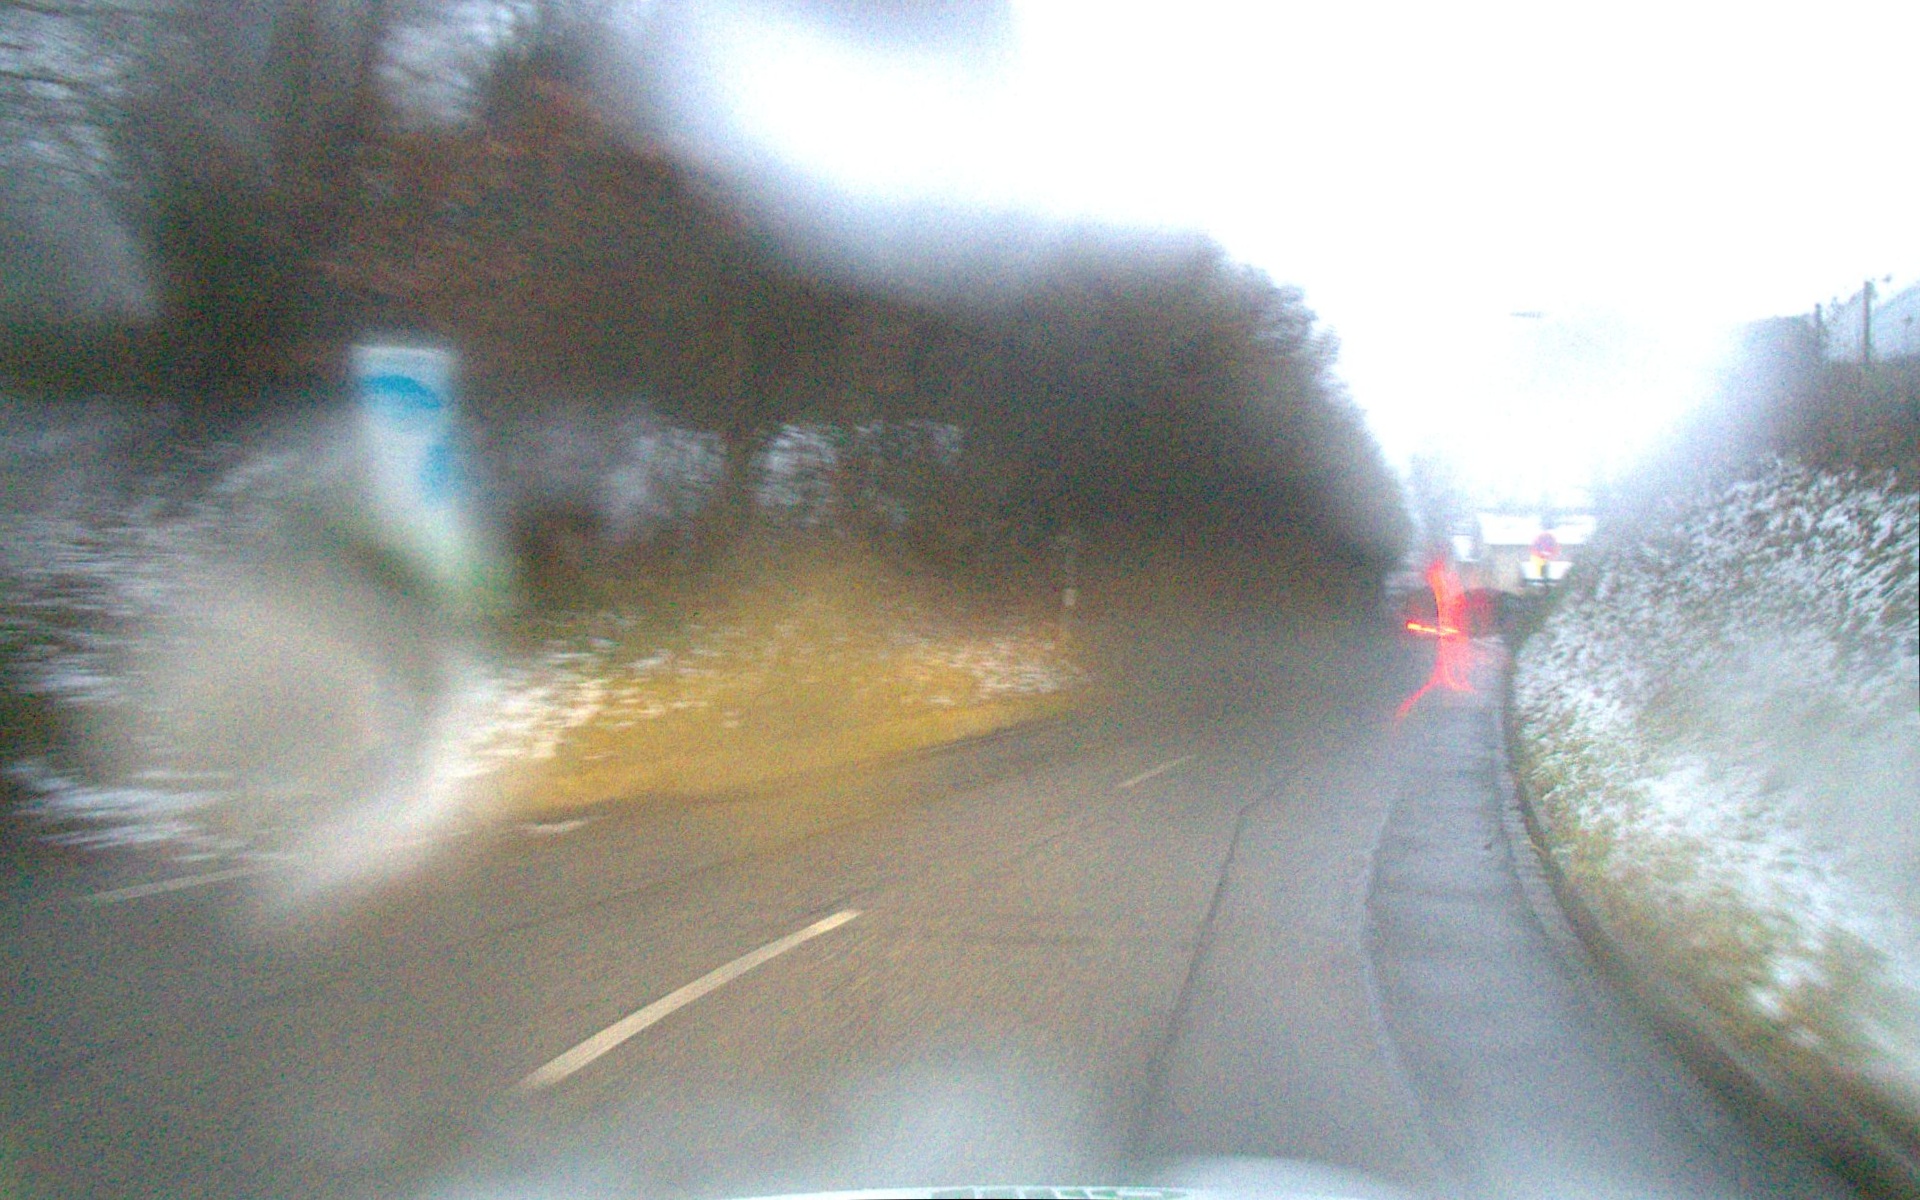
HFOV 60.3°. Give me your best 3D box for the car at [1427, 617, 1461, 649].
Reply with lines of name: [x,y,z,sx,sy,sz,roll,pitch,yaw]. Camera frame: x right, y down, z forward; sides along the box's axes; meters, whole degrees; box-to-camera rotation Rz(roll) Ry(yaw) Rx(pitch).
car: [29.591,2.017,101.061,1.767,1.769,4.001,3,-2,18]

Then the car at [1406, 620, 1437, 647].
car: [31.778,2.343,113.853,1.767,1.646,4.001,3,-2,18]
